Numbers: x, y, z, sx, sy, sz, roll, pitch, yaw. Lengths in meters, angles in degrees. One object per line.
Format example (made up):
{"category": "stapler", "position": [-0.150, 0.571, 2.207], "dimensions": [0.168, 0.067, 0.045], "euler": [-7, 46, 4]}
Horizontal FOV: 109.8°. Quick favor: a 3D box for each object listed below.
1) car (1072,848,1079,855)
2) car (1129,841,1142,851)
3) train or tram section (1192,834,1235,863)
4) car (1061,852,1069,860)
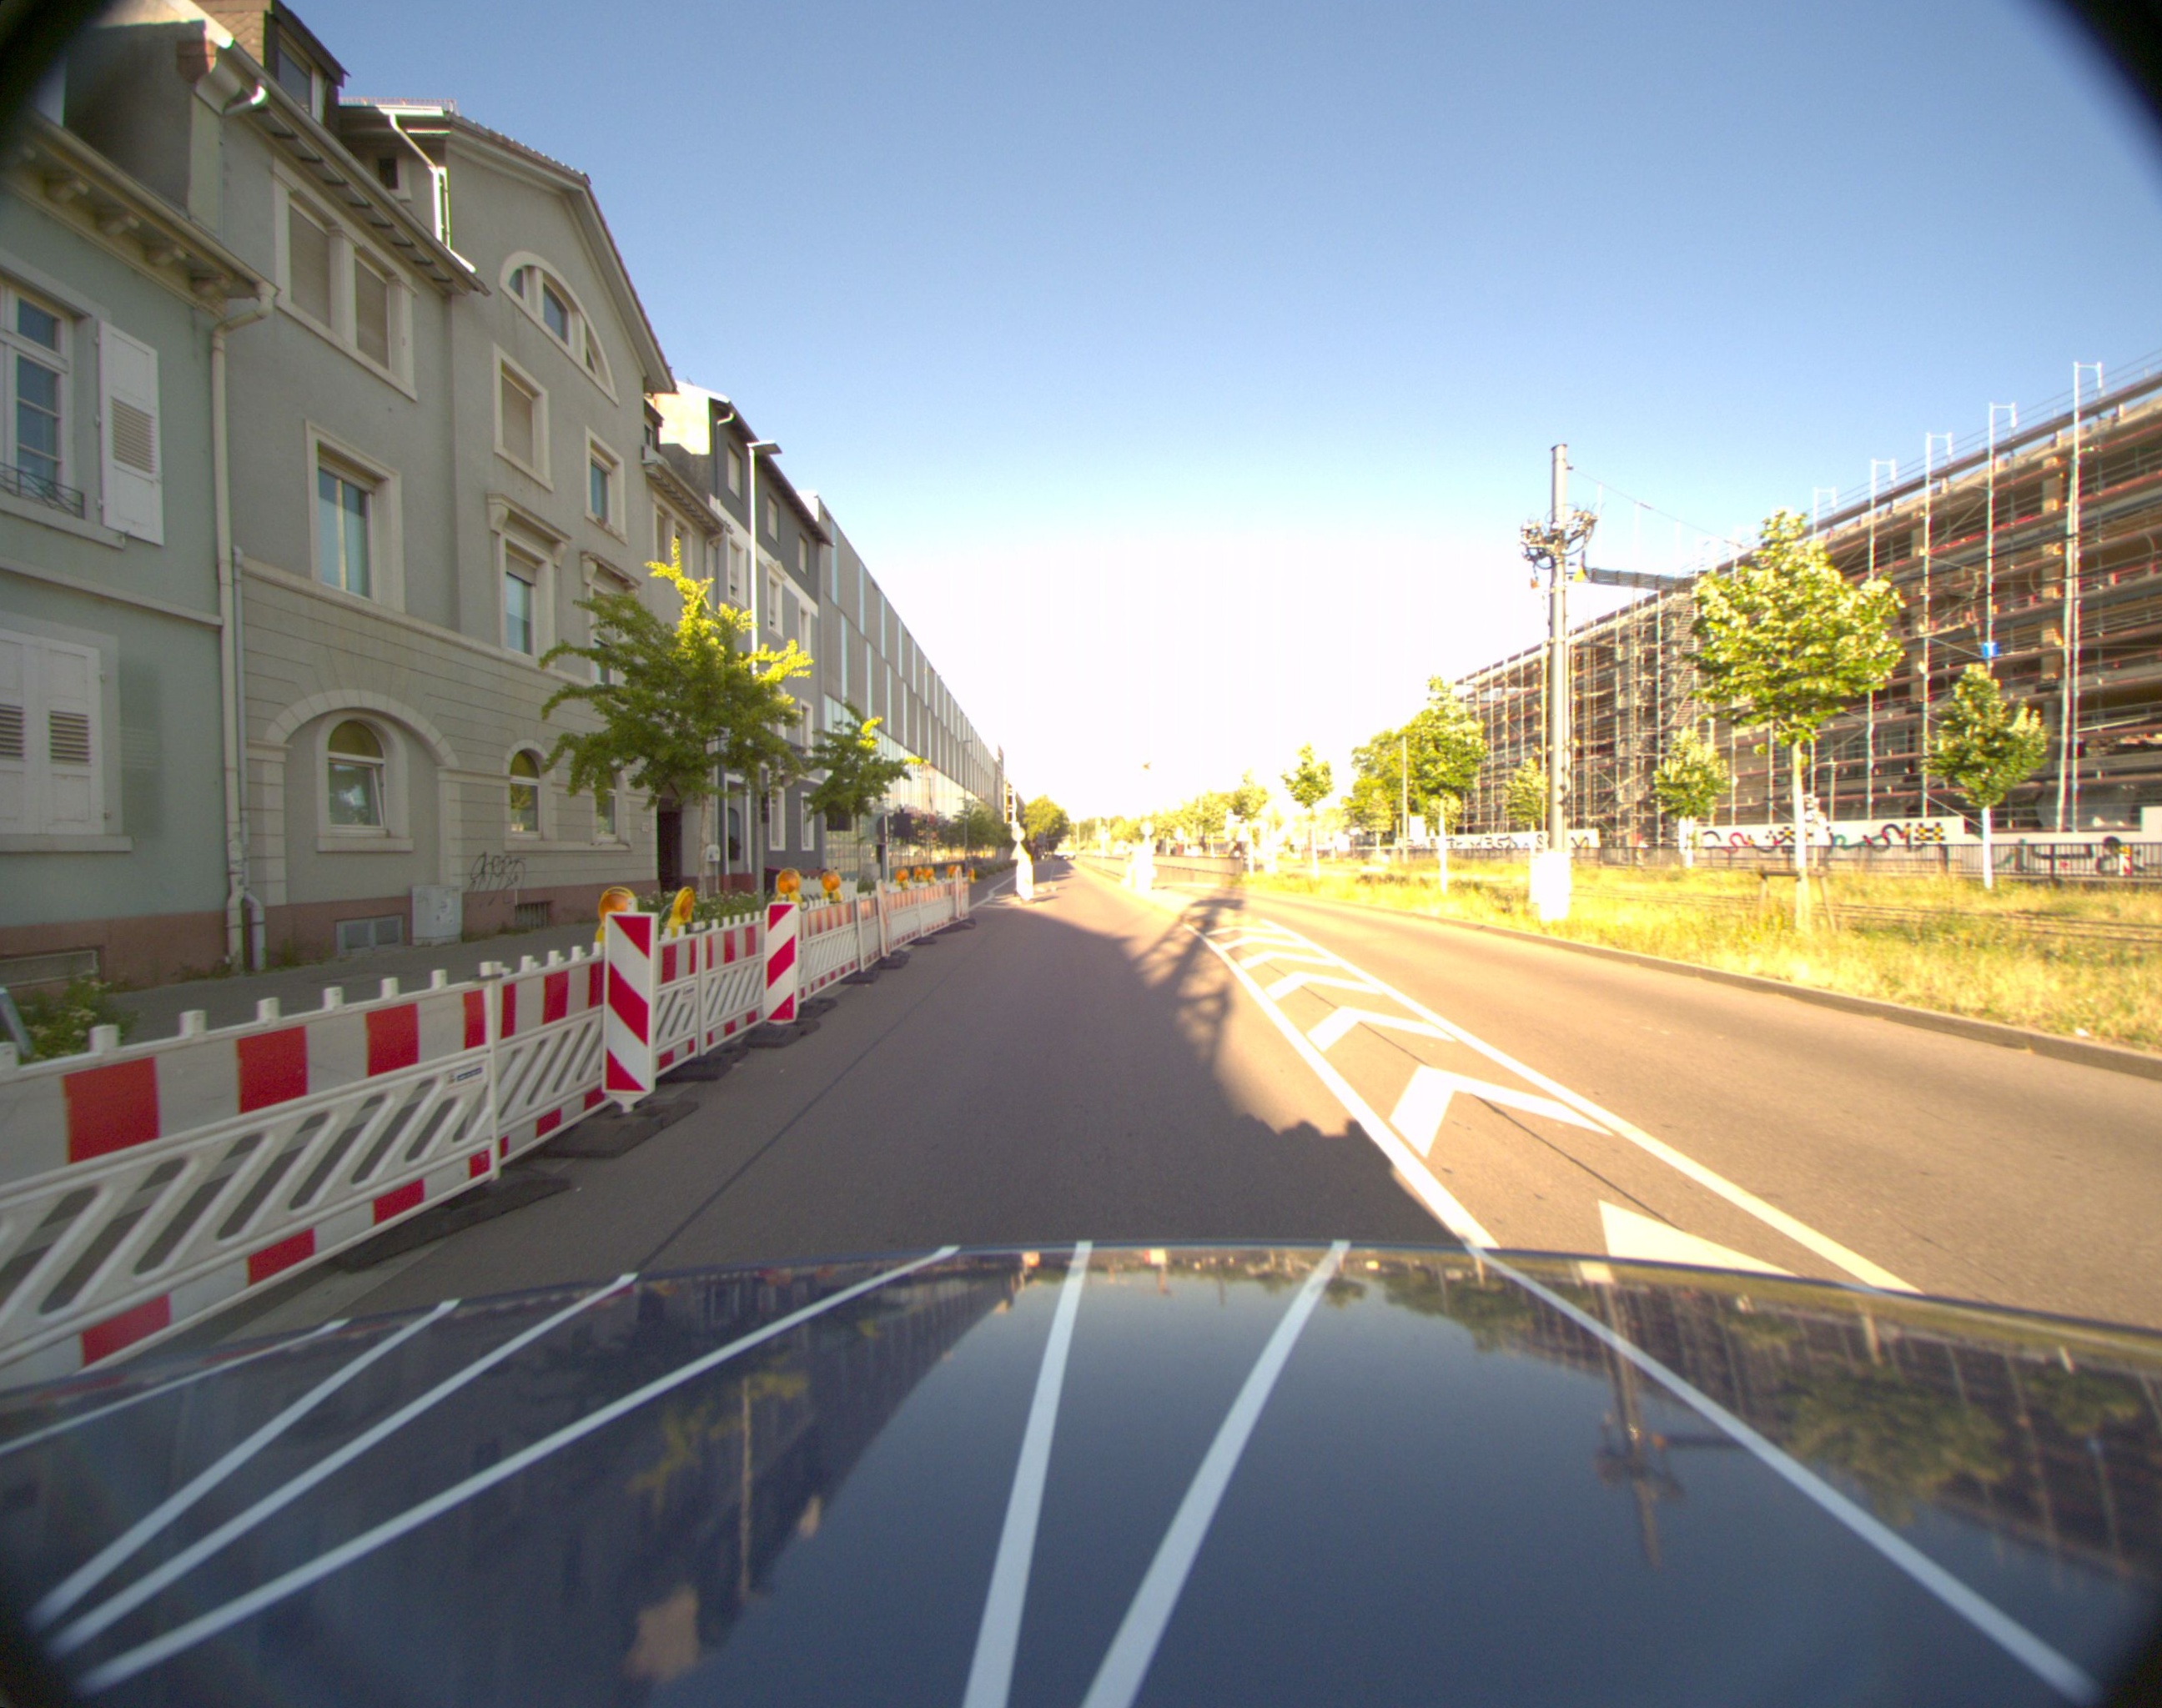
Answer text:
{"category": "car", "position": [-1.583, -0.690, 226.172], "dimensions": [1.941, 2.002, 3.825], "euler": [-1, 0, -3]}
{"category": "car", "position": [9.425, -1.370, 131.508], "dimensions": [1.998, 1.740, 4.000], "euler": [-2, 1, 1]}
{"category": "train or tram section", "position": [16.825, -0.719, 97.750], "dimensions": [2.954, 3.378, 12.630], "euler": [-2, 1, -1]}
{"category": "car", "position": [-3.960, 0.452, 190.734], "dimensions": [1.941, 2.002, 3.825], "euler": [-1, 0, -3]}
